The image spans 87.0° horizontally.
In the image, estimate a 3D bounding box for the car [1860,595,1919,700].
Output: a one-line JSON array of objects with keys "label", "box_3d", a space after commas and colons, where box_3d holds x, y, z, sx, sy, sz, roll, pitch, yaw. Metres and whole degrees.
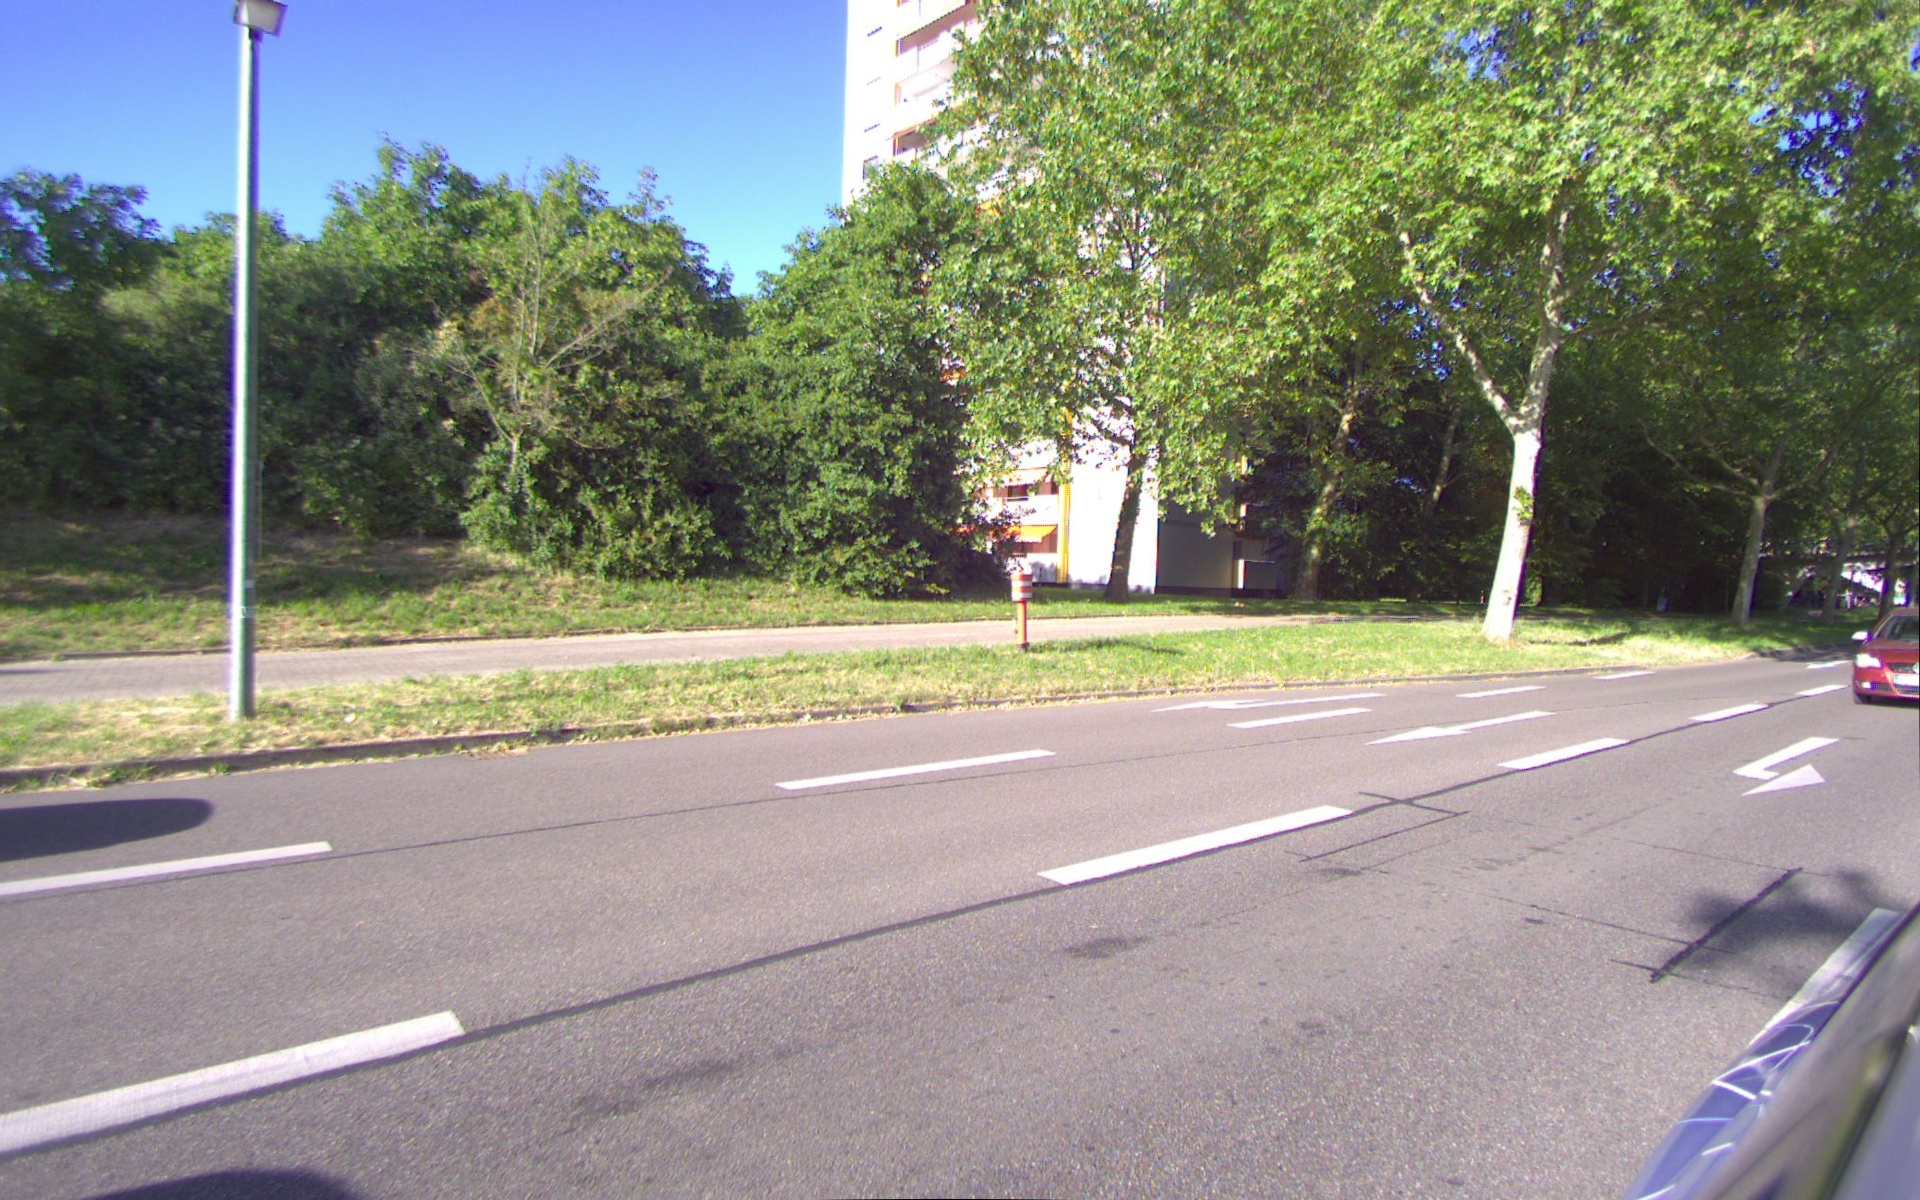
[{"label": "car", "box_3d": [15.096, 0.669, 15.319, 3.693, 1.456, 1.646, -1, 1, -39]}]
